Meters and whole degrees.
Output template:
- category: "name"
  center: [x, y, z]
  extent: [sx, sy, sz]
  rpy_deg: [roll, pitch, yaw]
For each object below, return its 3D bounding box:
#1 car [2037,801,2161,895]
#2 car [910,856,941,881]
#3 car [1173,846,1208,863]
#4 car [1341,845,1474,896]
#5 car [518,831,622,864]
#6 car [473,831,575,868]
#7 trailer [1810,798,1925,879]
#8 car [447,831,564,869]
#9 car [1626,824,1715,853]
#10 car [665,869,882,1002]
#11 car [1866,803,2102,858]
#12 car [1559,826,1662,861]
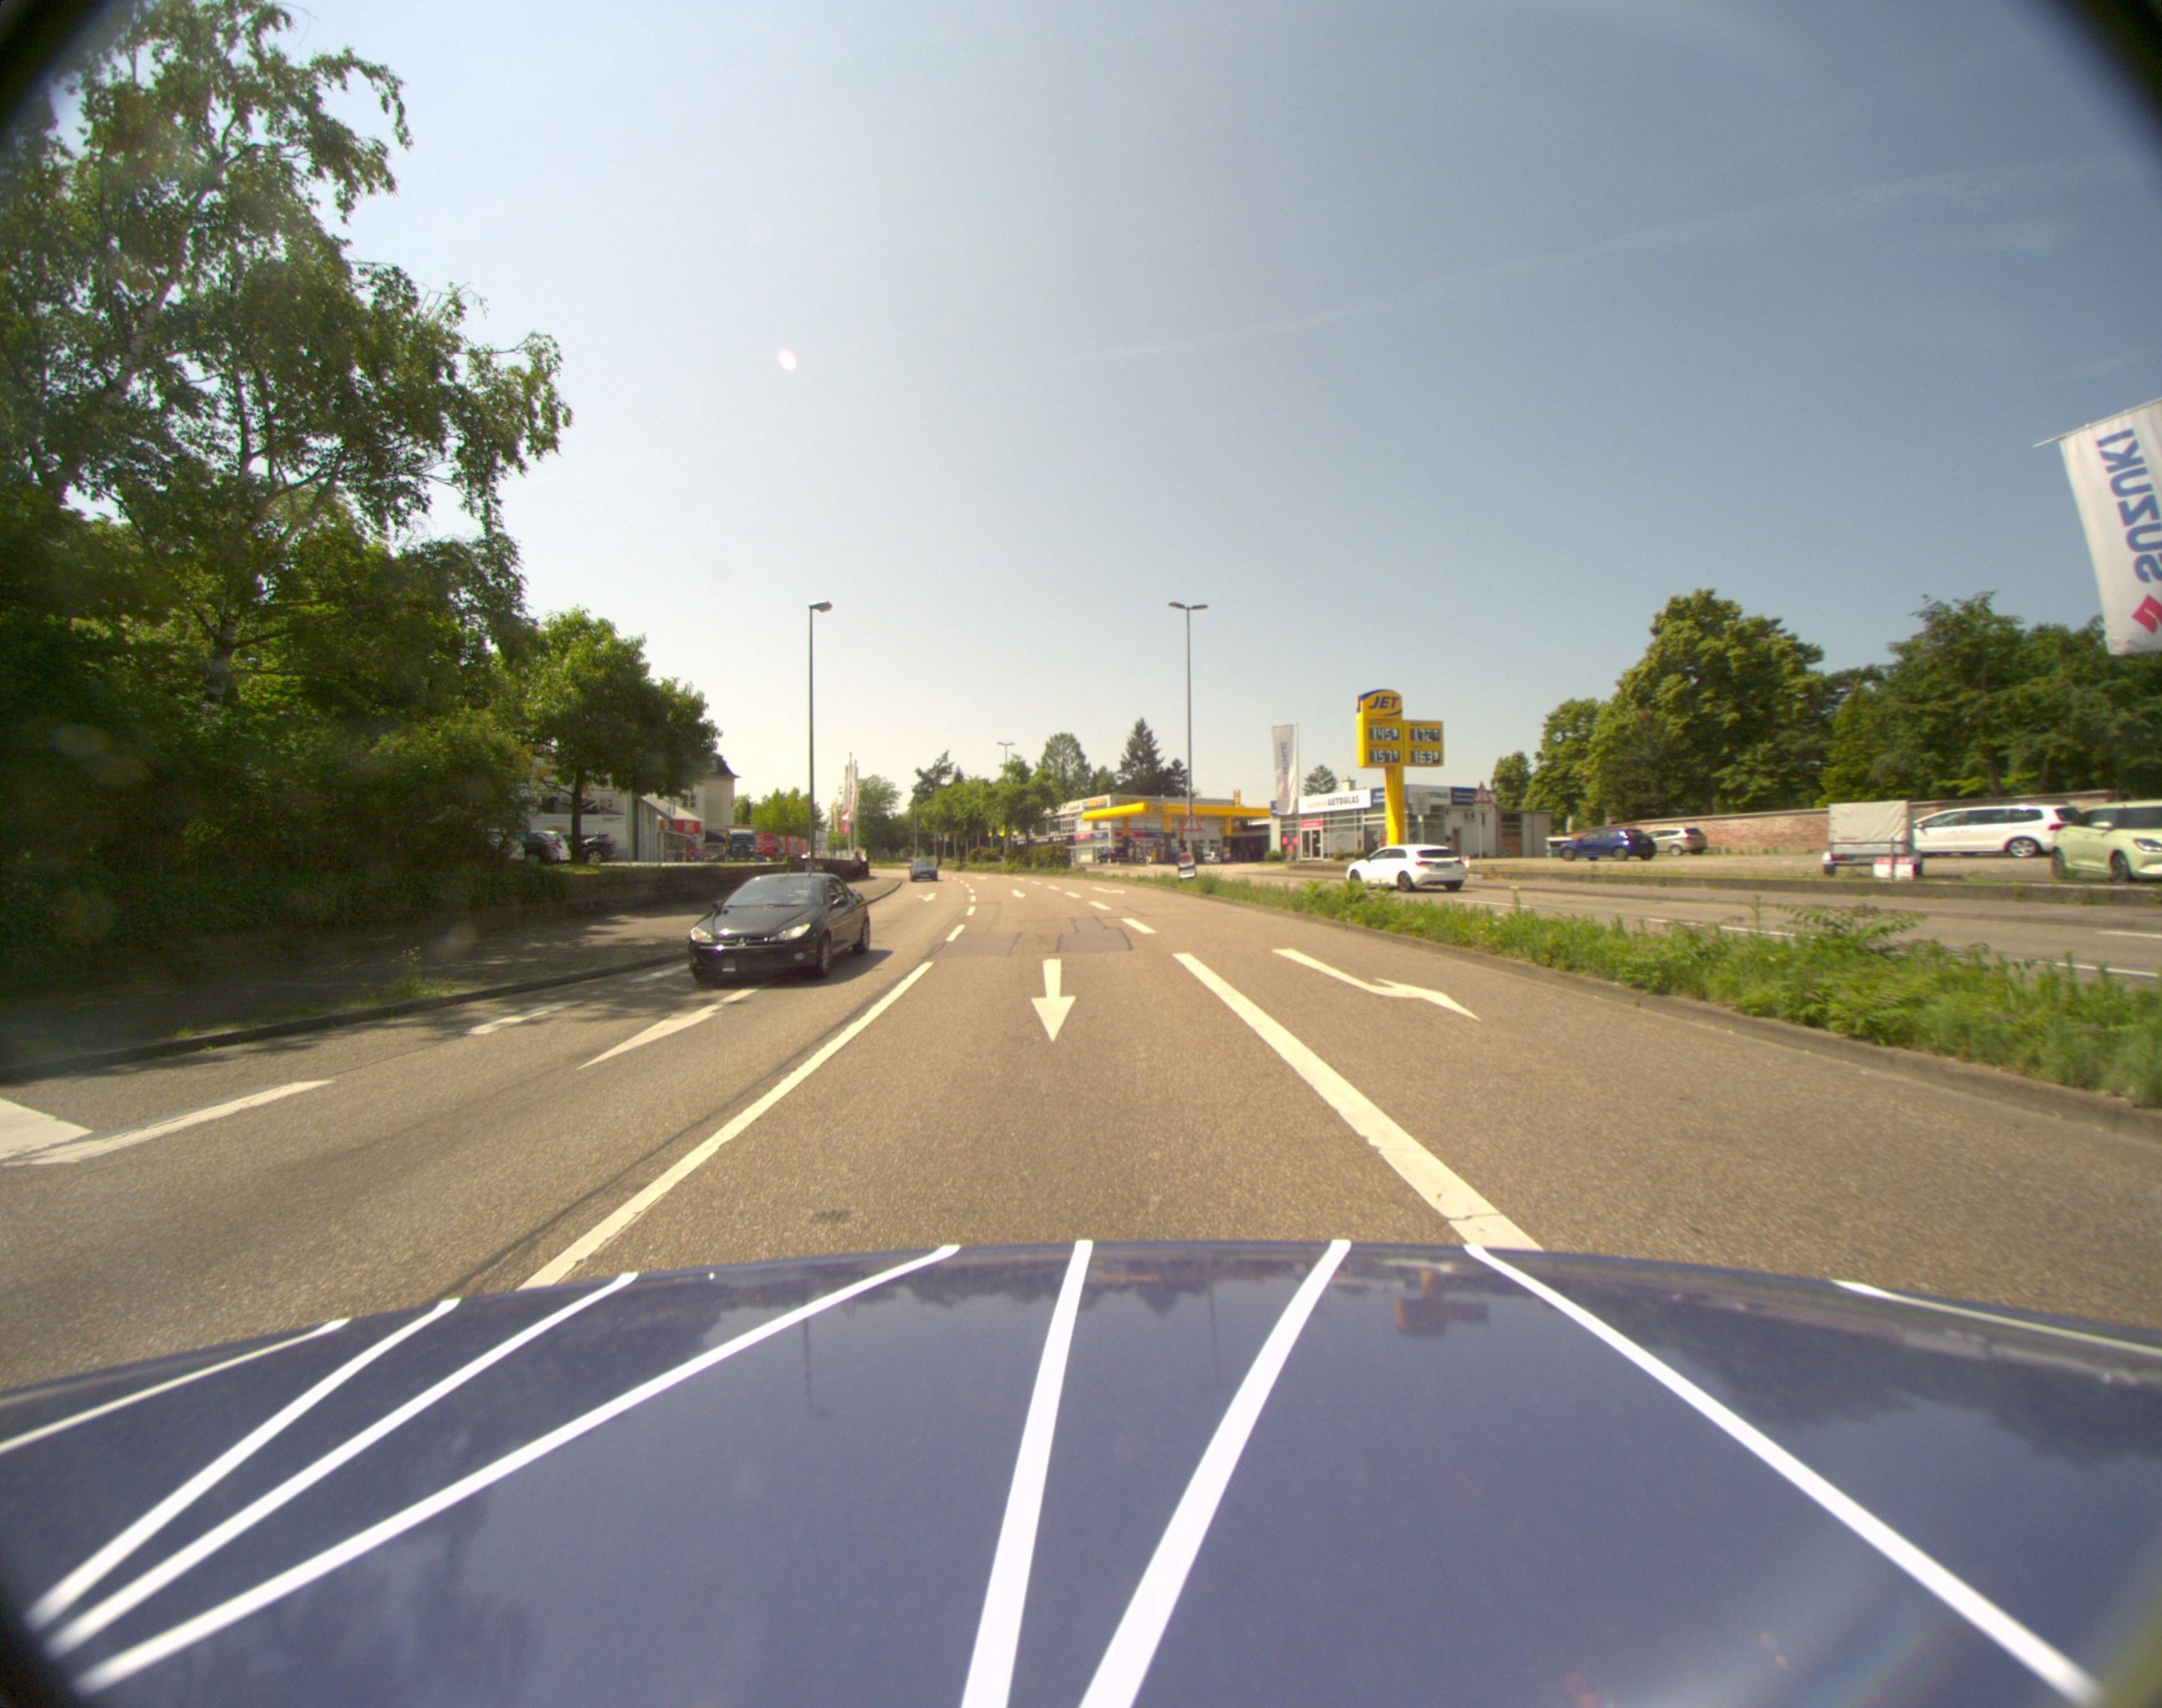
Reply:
- category: "car"
  center: [19.094, -0.177, 13.436]
  extent: [1.753, 1.501, 3.827]
  rpy_deg: [-2, 1, 36]
- category: "car"
  center: [-9.796, 0.881, 47.700]
  extent: [1.700, 1.366, 3.993]
  rpy_deg: [-1, 2, -15]
- category: "car"
  center: [10.827, 0.035, 75.336]
  extent: [1.658, 1.534, 4.206]
  rpy_deg: [-3, 1, -19]
- category: "car"
  center: [10.174, 0.451, 24.049]
  extent: [1.874, 1.416, 4.264]
  rpy_deg: [-1, 1, -9]
- category: "car"
  center: [-25.317, -0.324, 37.799]
  extent: [4.004, 1.531, 1.735]
  rpy_deg: [-1, 1, -23]
- category: "car"
  center: [-23.696, -0.203, 32.427]
  extent: [3.157, 1.463, 1.501]
  rpy_deg: [-1, 1, -19]
- category: "trailer"
  center: [17.868, -0.352, 17.247]
  extent: [2.439, 1.694, 1.689]
  rpy_deg: [-3, 1, -42]
- category: "car"
  center: [-22.697, -0.164, 30.095]
  extent: [3.324, 1.377, 1.656]
  rpy_deg: [-2, 1, -22]
- category: "car"
  center: [32.859, -0.842, 42.467]
  extent: [1.621, 1.497, 3.625]
  rpy_deg: [-2, 1, -17]
- category: "car"
  center: [-4.168, 1.013, 10.965]
  extent: [1.604, 1.417, 3.660]
  rpy_deg: [-3, 1, -1]
- category: "car"
  center: [29.689, -0.727, 25.237]
  extent: [1.696, 1.640, 4.749]
  rpy_deg: [-2, 1, -19]
- category: "car"
  center: [24.438, -0.478, 35.190]
  extent: [1.695, 1.497, 3.625]
  rpy_deg: [-2, 1, -17]
